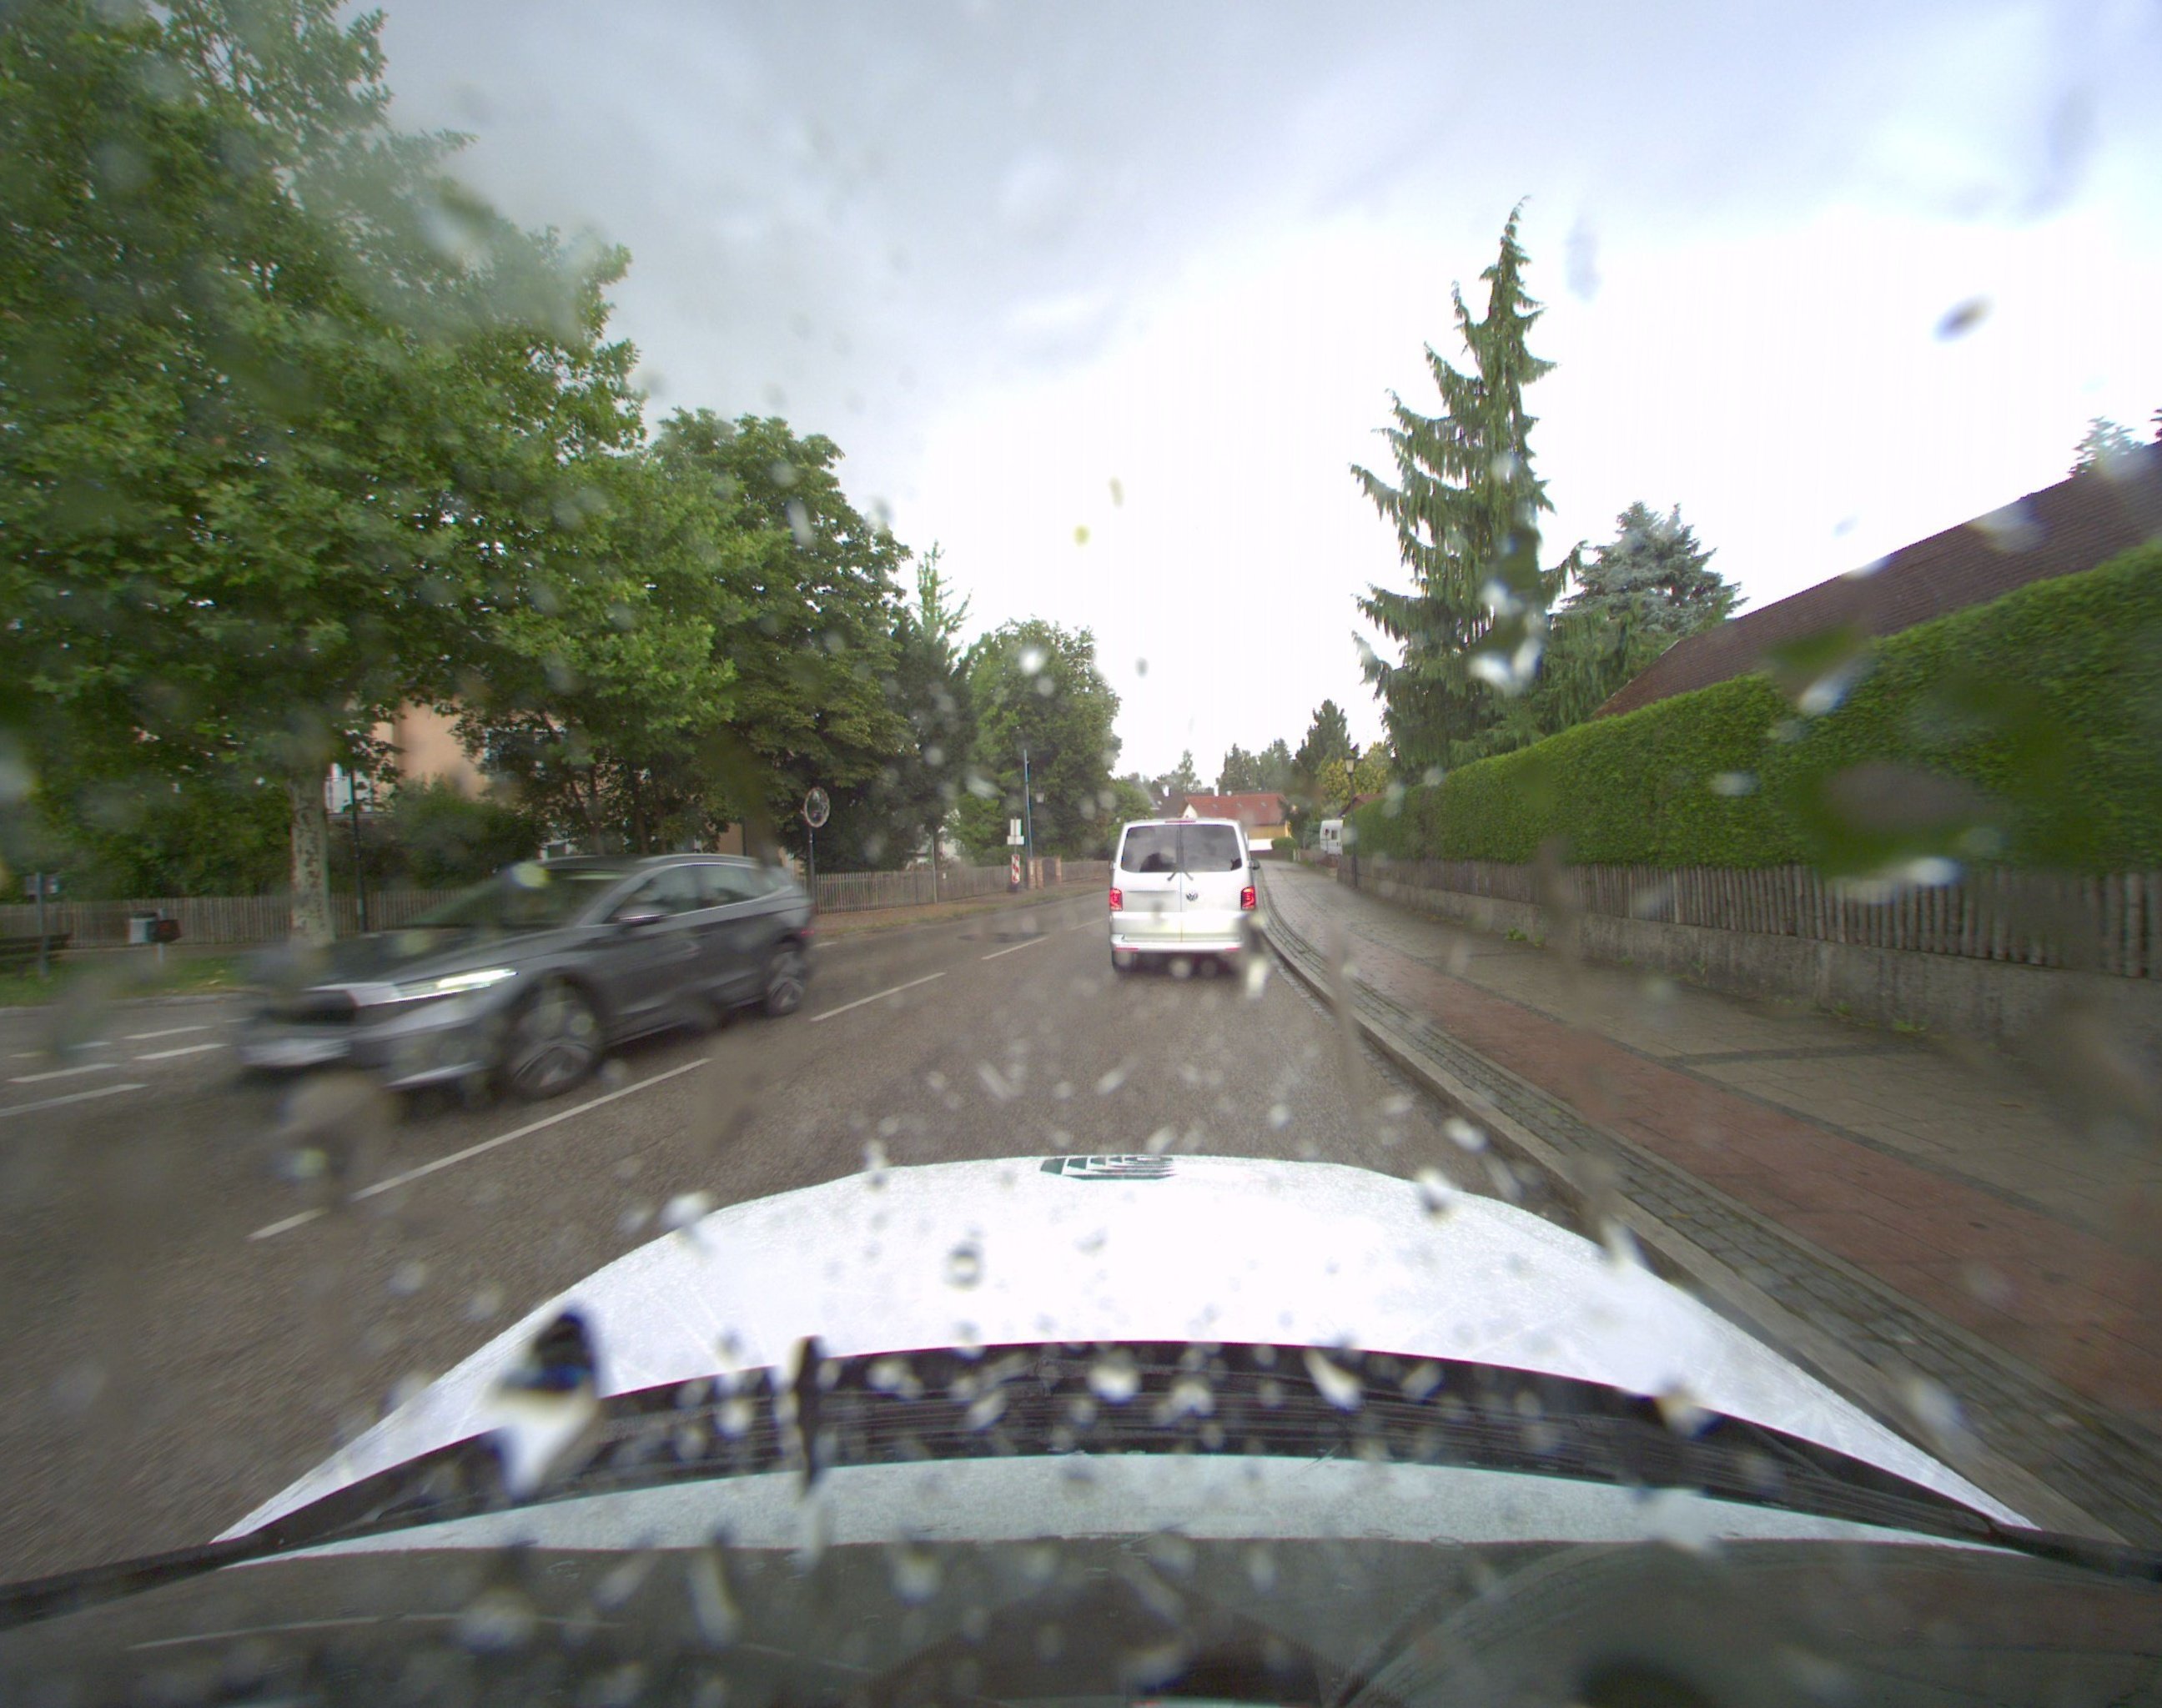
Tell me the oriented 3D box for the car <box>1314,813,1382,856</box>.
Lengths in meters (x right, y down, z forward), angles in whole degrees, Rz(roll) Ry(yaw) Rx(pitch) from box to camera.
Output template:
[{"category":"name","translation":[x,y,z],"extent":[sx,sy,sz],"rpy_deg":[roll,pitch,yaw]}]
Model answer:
[{"category":"car","translation":[14.699,-1.026,45.158],"extent":[1.988,2.173,4.949],"rpy_deg":[0,-1,-2]}]

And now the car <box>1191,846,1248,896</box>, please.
[{"category":"car","translation":[4.824,0.580,28.129],"extent":[1.789,1.588,4.012],"rpy_deg":[-1,-1,11]}]

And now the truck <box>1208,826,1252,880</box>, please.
[{"category":"truck","translation":[9.170,-0.001,49.932],"extent":[2.459,3.074,6.315],"rpy_deg":[-1,-1,11]}]

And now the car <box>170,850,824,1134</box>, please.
[{"category":"car","translation":[-4.120,0.780,6.805],"extent":[1.981,1.595,4.204],"rpy_deg":[-1,0,11]}]

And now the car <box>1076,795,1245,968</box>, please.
[{"category":"car","translation":[1.314,0.344,11.620],"extent":[1.788,2.014,4.015],"rpy_deg":[-1,-1,14]}]
